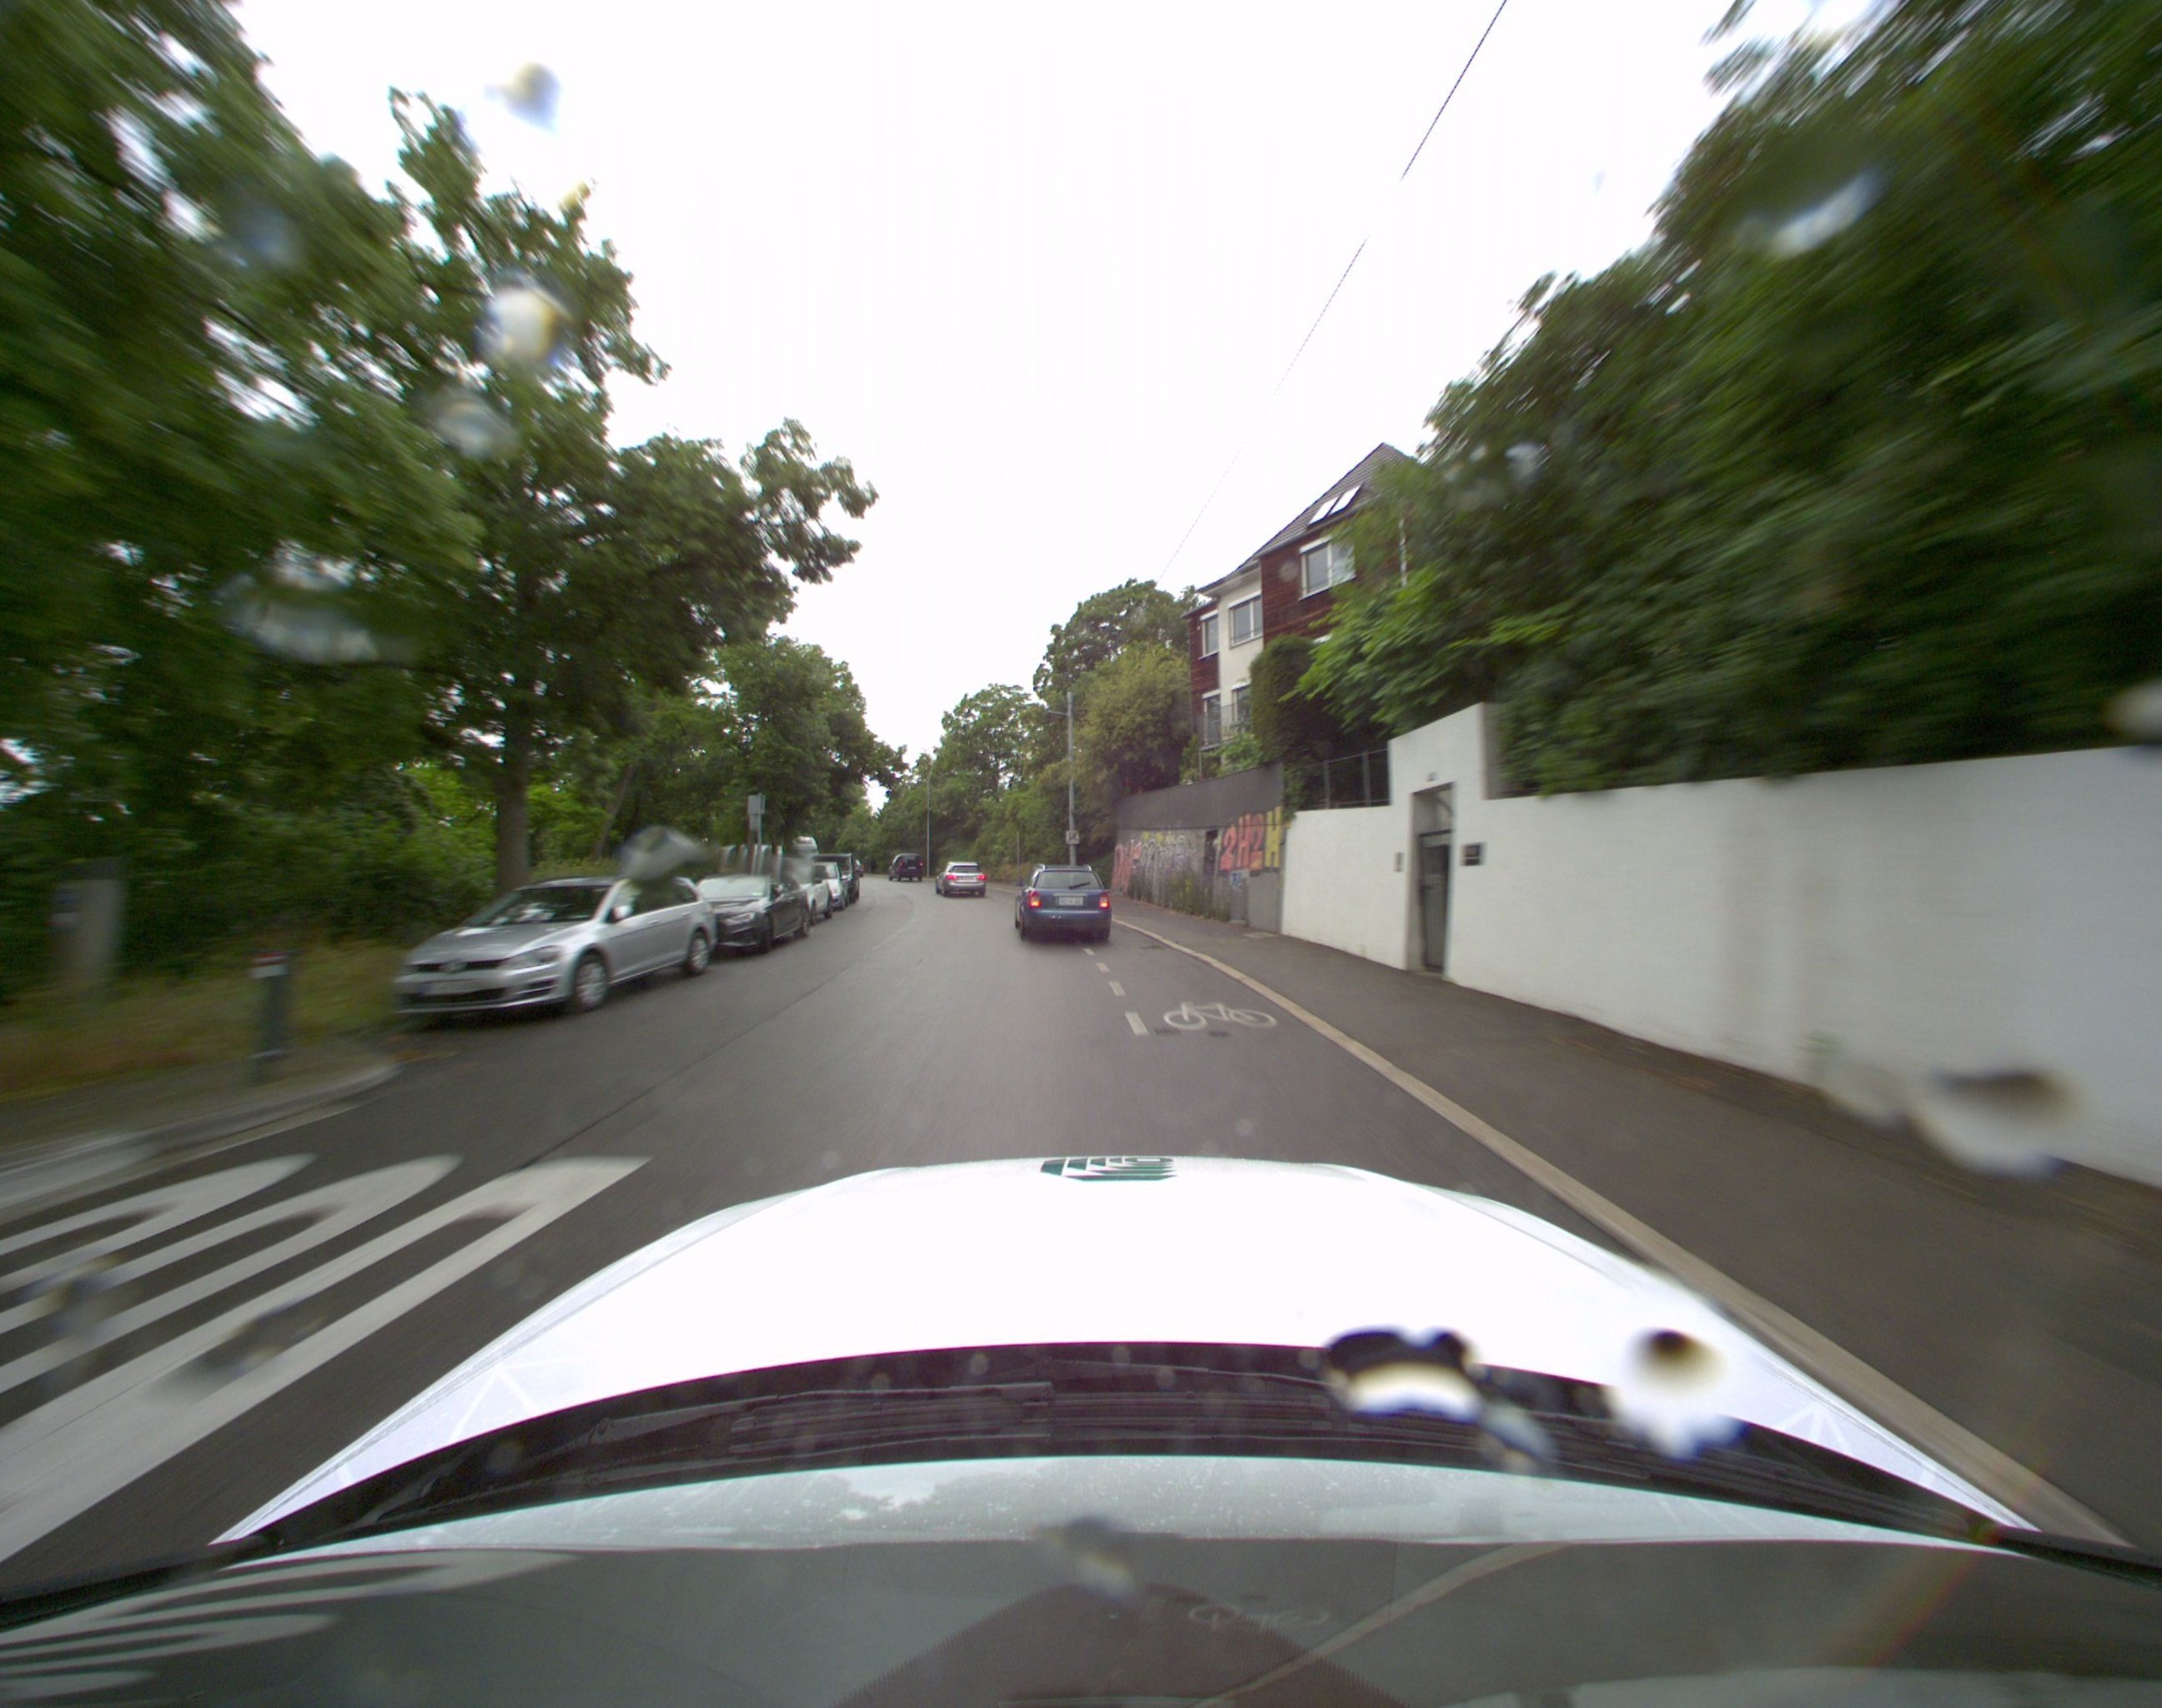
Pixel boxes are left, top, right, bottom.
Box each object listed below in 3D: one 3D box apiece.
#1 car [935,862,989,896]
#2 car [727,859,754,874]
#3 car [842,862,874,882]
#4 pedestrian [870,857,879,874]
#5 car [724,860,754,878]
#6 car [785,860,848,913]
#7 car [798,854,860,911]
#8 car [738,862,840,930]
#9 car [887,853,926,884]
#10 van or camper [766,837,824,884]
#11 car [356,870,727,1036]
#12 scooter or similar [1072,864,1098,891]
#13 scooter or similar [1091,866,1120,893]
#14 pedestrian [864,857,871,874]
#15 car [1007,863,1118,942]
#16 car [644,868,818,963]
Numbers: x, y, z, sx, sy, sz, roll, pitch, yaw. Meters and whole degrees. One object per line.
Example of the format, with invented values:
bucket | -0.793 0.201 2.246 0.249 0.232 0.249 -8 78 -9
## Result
car | -5.262 1.058 35.668 1.894 1.389 3.979 1 -1 -15
car | -33.850 1.227 80.908 2.006 1.405 4.669 -1 0 -29
car | -18.318 1.437 66.776 1.832 1.617 3.751 0 -1 -28
pedestrian | -18.797 1.040 74.116 0.598 1.566 0.663 1 -1 -27
car | -29.816 1.274 70.974 2.005 1.405 4.672 -1 1 -28
car | -8.776 1.053 27.273 1.686 1.552 3.747 -3 0 -15
car | -10.054 1.052 32.823 1.957 1.967 4.978 -3 1 -14
car | -7.562 1.029 21.472 1.683 1.509 4.193 -3 0 -9
car | -11.906 0.997 55.365 1.796 1.953 3.969 -3 0 -23
van or camper | -20.433 0.441 57.899 2.522 3.026 6.497 -4 1 -31
car | -6.132 0.993 10.018 1.650 1.429 4.373 -2 0 -1
scooter or similar | 0.167 1.000 35.172 0.348 1.117 1.407 2 -2 -37
scooter or similar | 1.019 1.065 34.016 0.349 1.117 1.405 2 -2 -41
pedestrian | -19.357 1.041 73.793 0.555 1.566 0.482 0 0 -27
car | -0.502 0.901 16.759 1.747 1.407 3.987 1 -1 -9
car | -6.326 1.023 15.286 1.682 1.380 4.490 -3 0 -6
